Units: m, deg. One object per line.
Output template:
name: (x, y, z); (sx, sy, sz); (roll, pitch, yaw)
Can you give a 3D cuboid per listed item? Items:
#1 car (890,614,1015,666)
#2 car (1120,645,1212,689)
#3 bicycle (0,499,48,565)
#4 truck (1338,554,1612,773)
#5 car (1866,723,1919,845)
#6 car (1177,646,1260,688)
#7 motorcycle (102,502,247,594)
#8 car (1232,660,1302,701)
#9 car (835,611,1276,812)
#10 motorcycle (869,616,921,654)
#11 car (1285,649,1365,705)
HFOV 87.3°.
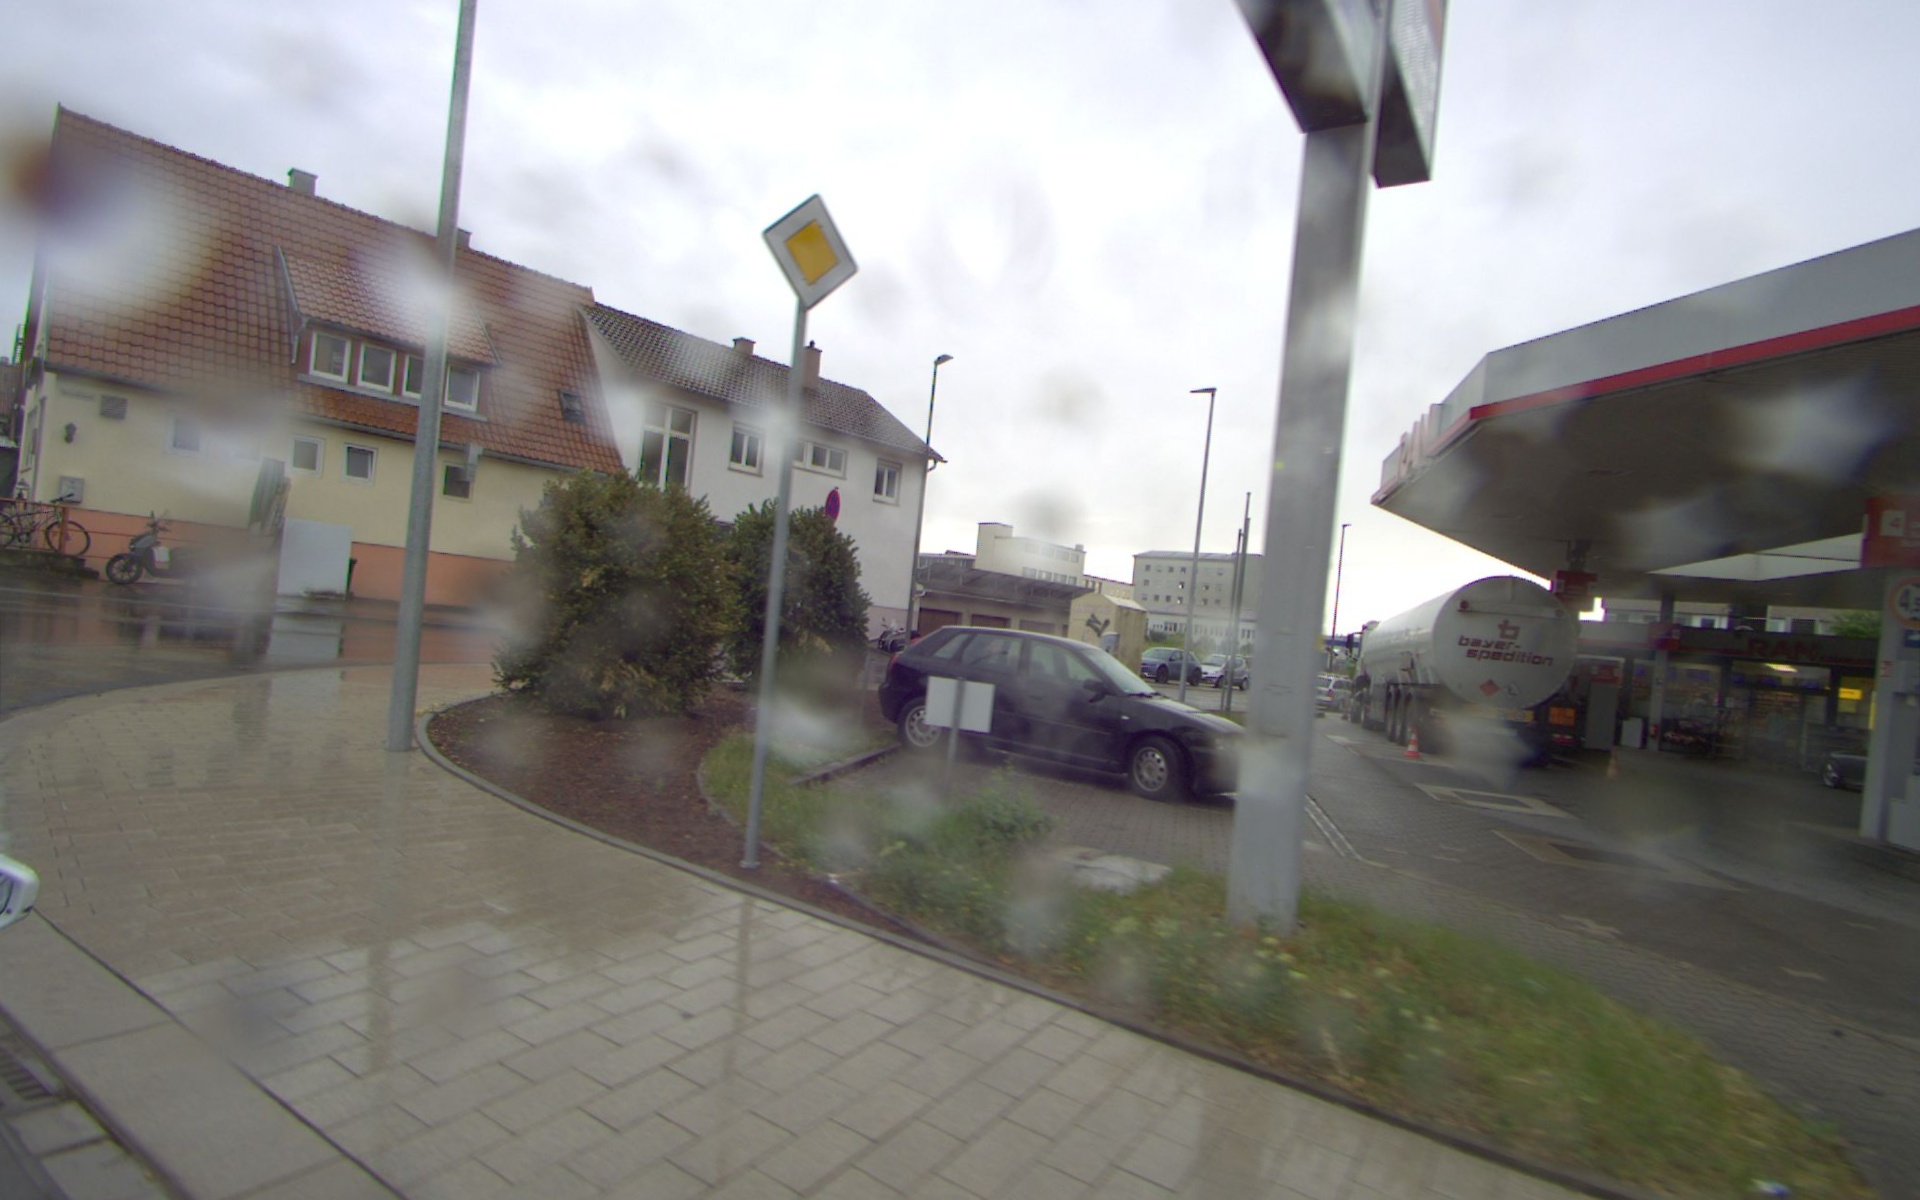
car: (-0.207, 1.421, 35.119); (1.972, 1.394, 4.239); (7, 0, 41)
car: (9.357, 3.062, 45.569); (4.171, 1.527, 1.974); (8, 1, -44)
bicycle: (-17.717, -1.309, 18.146); (0.483, 1.109, 1.766); (8, 0, 45)
truck: (11.509, 1.499, 24.420); (2.597, 3.398, 14.426); (9, -1, 16)
car: (12.487, 2.353, 11.218); (1.742, 1.444, 4.003); (7, -1, 14)
car: (12.867, 3.331, 49.892); (4.171, 1.609, 1.974); (7, 1, -44)
motorcycle: (-15.002, -0.971, 19.274); (0.483, 1.474, 2.029); (7, -1, 44)
car: (16.527, 4.355, 54.123); (1.973, 1.804, 3.981); (6, -1, 42)
car: (1.009, 1.073, 10.709); (4.260, 1.356, 1.694); (7, 0, 22)
motorcycle: (-2.245, 1.238, 35.071); (0.482, 1.164, 2.033); (7, -1, 37)
car: (15.407, 3.261, 42.341); (1.969, 2.038, 3.987); (7, 0, 36)
